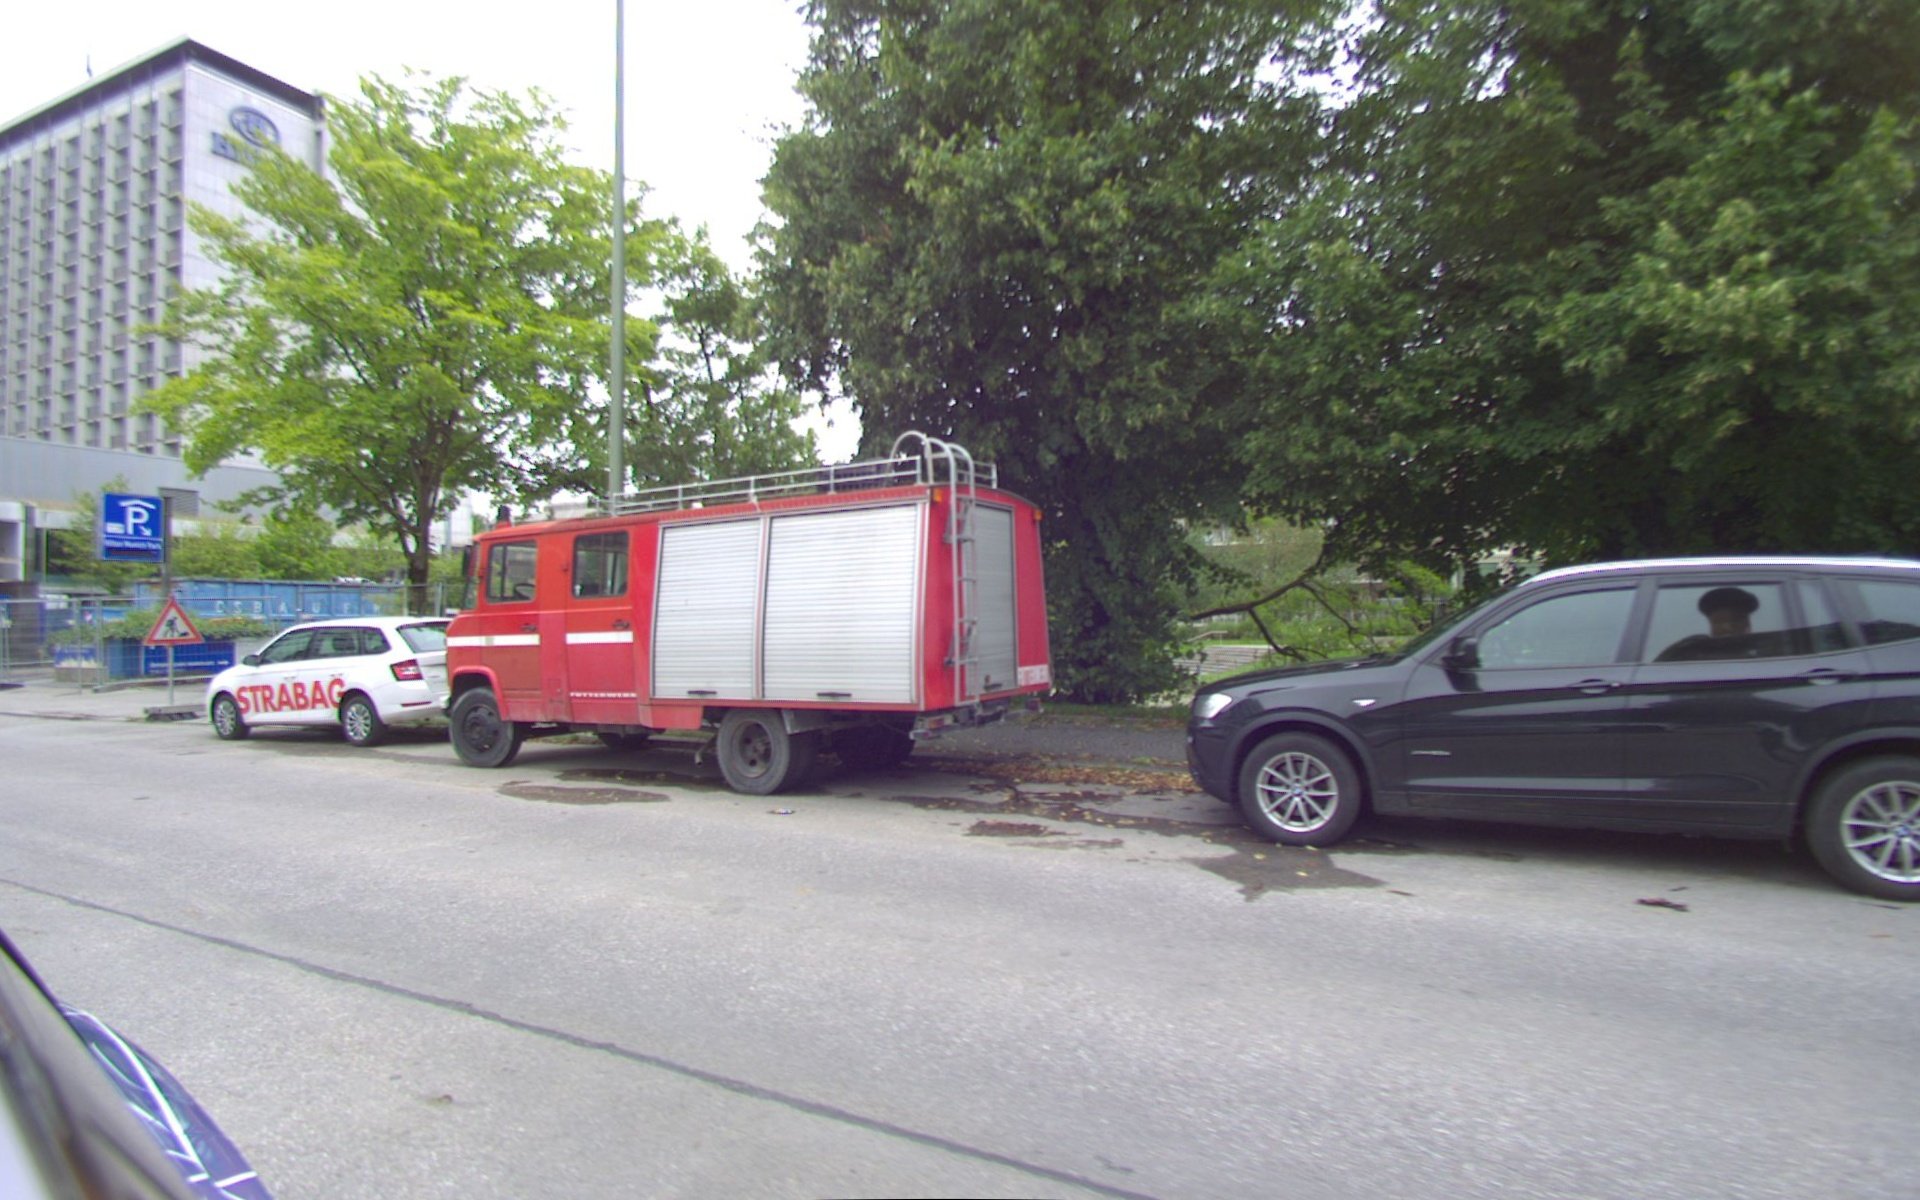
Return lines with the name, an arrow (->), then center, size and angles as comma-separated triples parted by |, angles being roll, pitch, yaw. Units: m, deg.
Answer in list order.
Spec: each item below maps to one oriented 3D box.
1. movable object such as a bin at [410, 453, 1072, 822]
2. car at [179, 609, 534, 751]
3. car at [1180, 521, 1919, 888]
movable object such as a bin -> -2.223, 0.333, 9.284 | 6.162, 2.477, 2.089 | -1, -2, 30
car -> -7.645, 0.935, 12.820 | 4.231, 1.561, 1.767 | -1, -2, 24
car -> 3.720, 0.514, 5.941 | 4.440, 1.662, 1.765 | -1, -2, 28
